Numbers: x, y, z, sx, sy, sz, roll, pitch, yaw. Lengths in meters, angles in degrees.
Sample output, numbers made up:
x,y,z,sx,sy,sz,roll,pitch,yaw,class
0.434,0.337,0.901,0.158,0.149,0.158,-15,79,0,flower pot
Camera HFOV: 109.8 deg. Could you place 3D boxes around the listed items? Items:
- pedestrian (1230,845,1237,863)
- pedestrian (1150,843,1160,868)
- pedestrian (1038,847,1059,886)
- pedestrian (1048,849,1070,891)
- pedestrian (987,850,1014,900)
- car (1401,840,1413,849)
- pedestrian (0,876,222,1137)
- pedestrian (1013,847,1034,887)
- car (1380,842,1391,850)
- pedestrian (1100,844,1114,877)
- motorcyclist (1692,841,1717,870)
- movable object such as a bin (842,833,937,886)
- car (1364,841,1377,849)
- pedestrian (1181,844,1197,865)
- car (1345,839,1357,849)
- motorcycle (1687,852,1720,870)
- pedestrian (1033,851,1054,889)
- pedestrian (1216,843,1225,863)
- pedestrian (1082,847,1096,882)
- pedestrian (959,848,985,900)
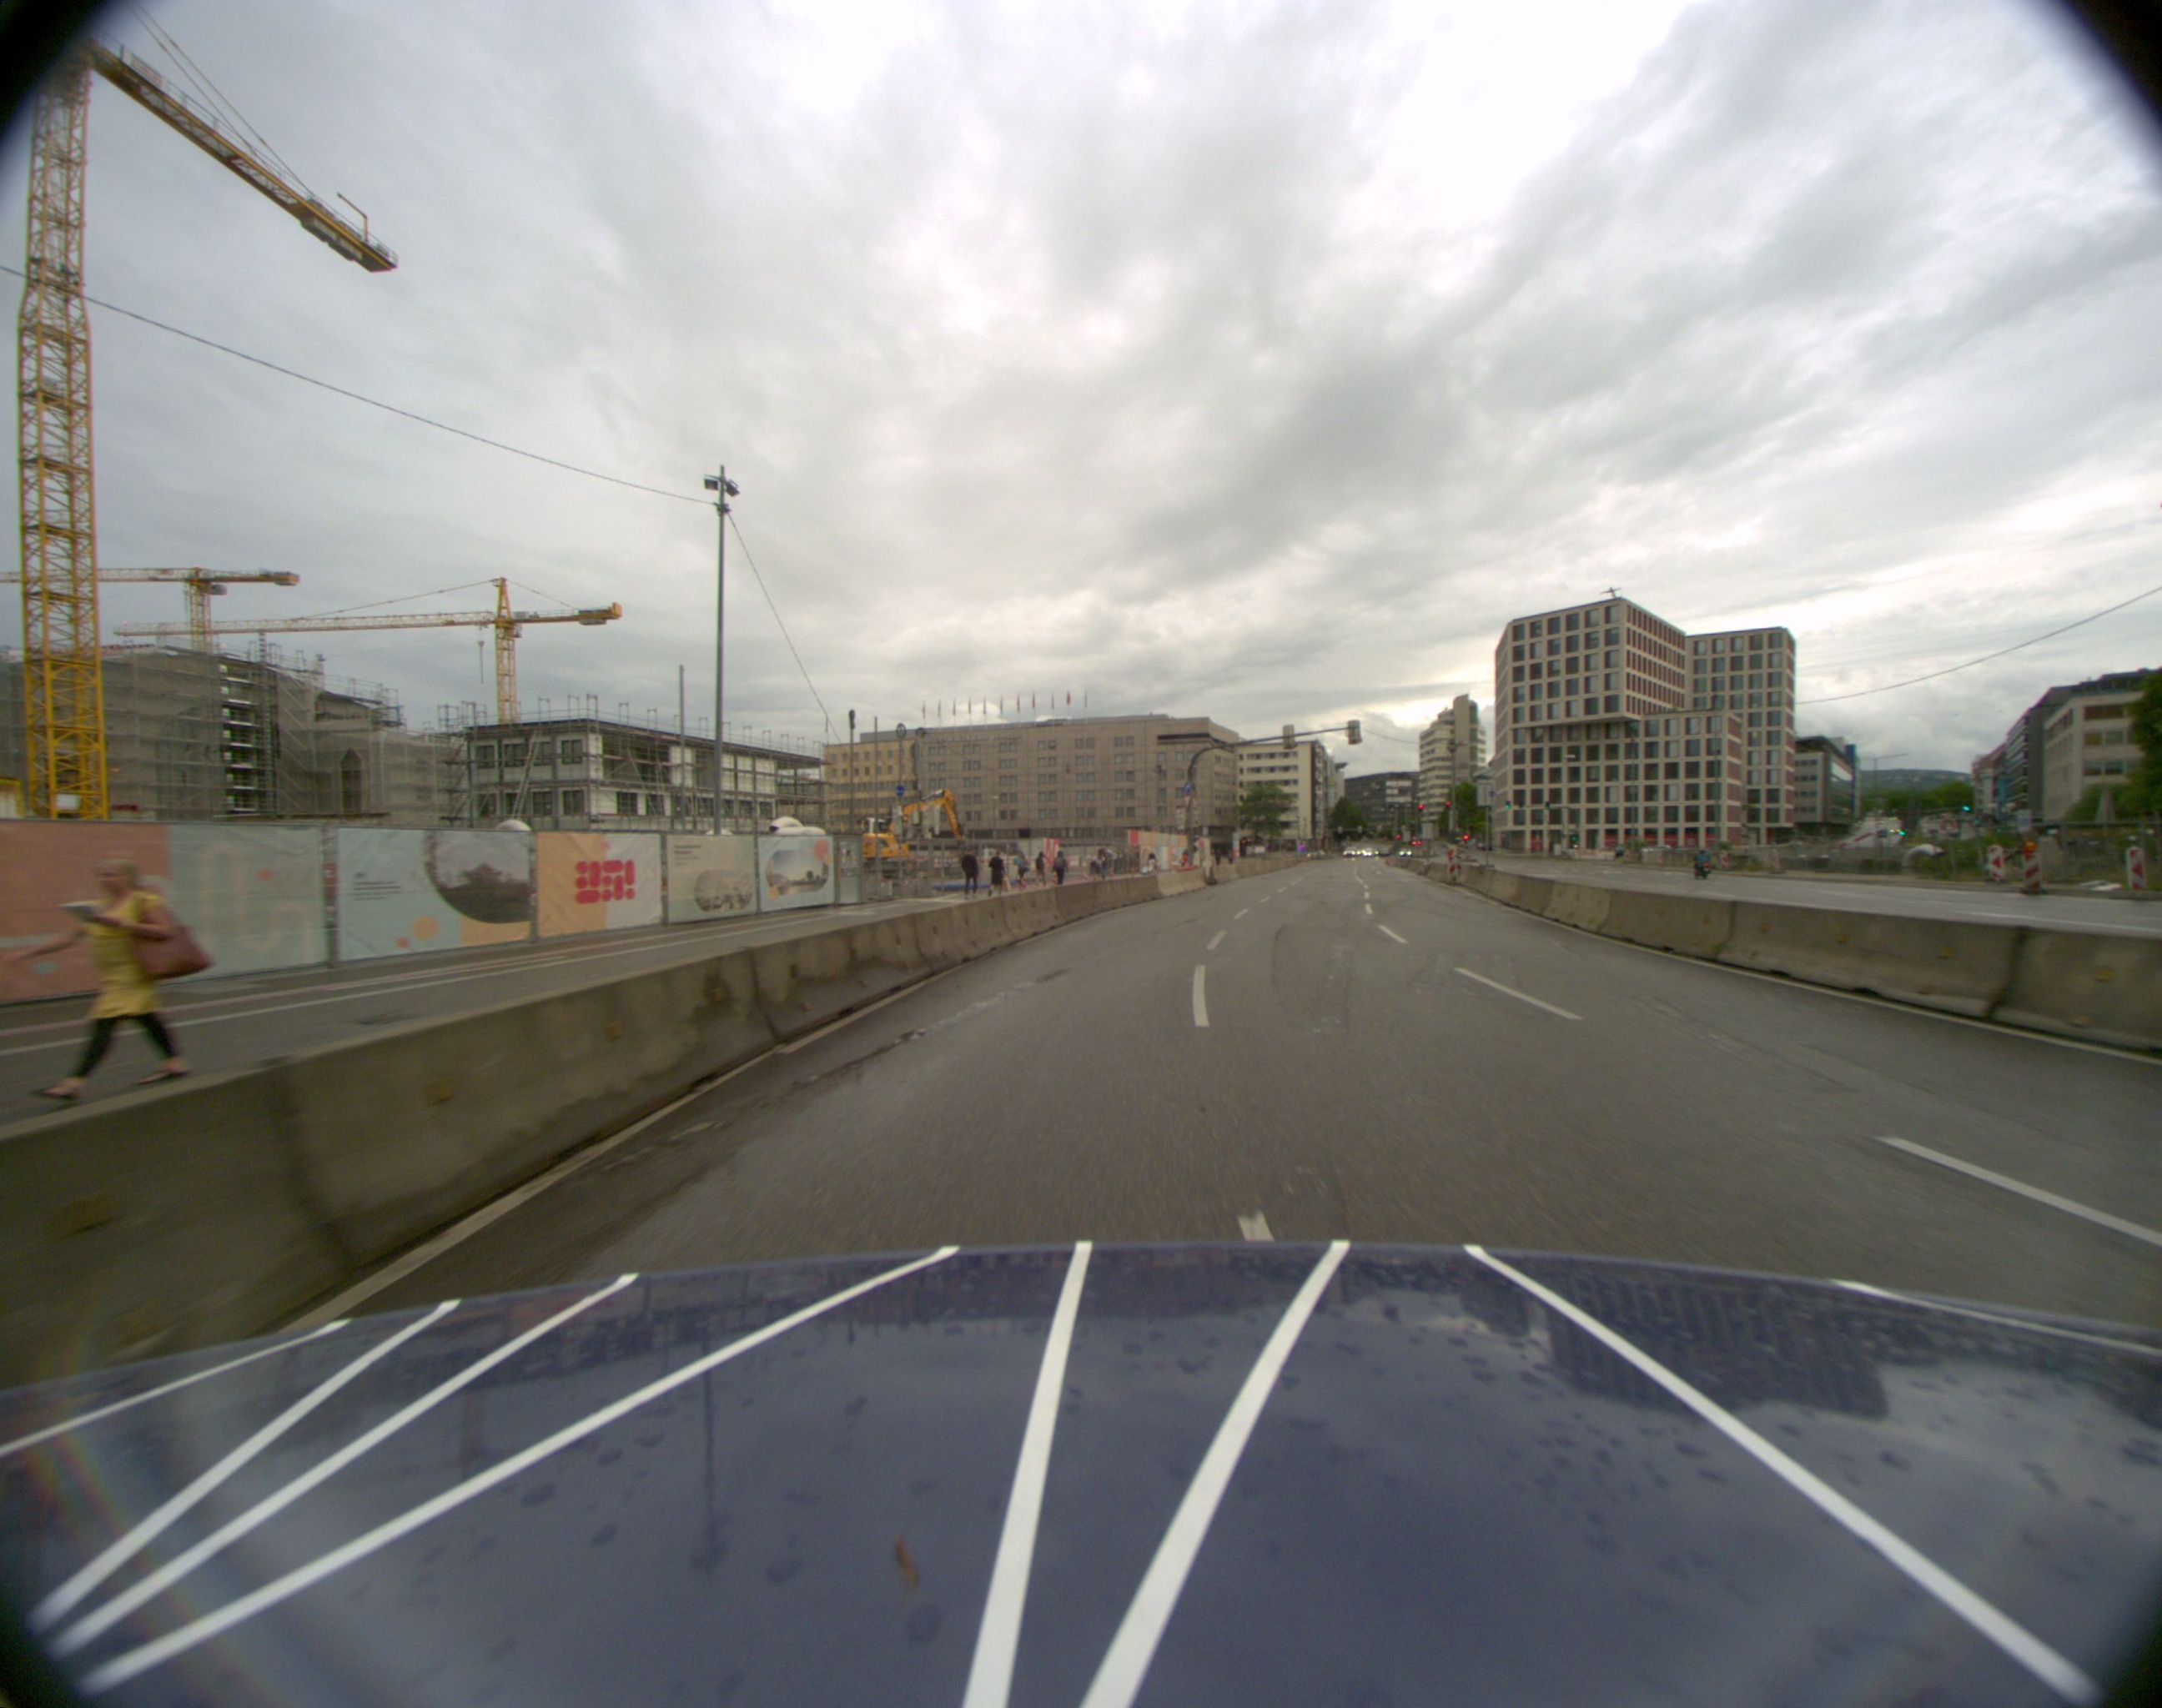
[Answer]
x,y,z,sx,sy,sz,roll,pitch,yaw,class
14.985,-0.035,74.650,0.653,1.751,0.549,1,1,7,pedestrian
4.937,0.080,50.594,0.648,1.660,0.766,1,1,7,pedestrian
-1.401,0.525,33.285,0.654,1.681,0.776,1,1,19,pedestrian
-0.899,0.649,30.861,0.654,1.681,0.776,1,1,19,pedestrian
-2.733,0.706,25.897,0.648,1.637,0.948,1,1,9,pedestrian
59.971,-1.749,139.798,1.789,1.445,3.676,-1,1,17,car
-6.835,0.989,5.285,0.649,1.623,0.907,-1,1,-4,pedestrian
-2.507,0.569,32.885,0.746,1.696,0.687,1,1,9,pedestrian
56.385,-1.534,140.686,1.706,1.445,3.800,-1,1,17,car
1.418,0.360,41.143,0.648,1.751,0.584,1,1,7,pedestrian
32.941,0.070,40.177,0.703,1.478,0.964,0,1,17,motorcyclist
-9.662,0.224,38.463,4.136,2.521,1.994,-2,1,-39,movable object such as a bin
54.159,-1.696,142.211,1.996,1.445,4.005,-1,1,17,car
9.214,0.023,64.635,1.097,1.751,0.907,1,1,22,pedestrian
51.272,-1.833,144.416,1.996,1.814,4.005,-1,1,17,car
32.978,0.378,40.282,0.703,0.887,1.825,-1,1,17,motorcycle
-1.591,0.656,32.251,0.669,1.572,0.903,1,1,9,pedestrian
12.483,-0.071,68.060,0.756,1.751,0.766,1,1,7,pedestrian
0.390,0.504,36.710,0.585,1.698,0.677,1,1,7,pedestrian
-3.674,0.657,25.636,0.648,1.733,0.766,1,1,9,pedestrian
